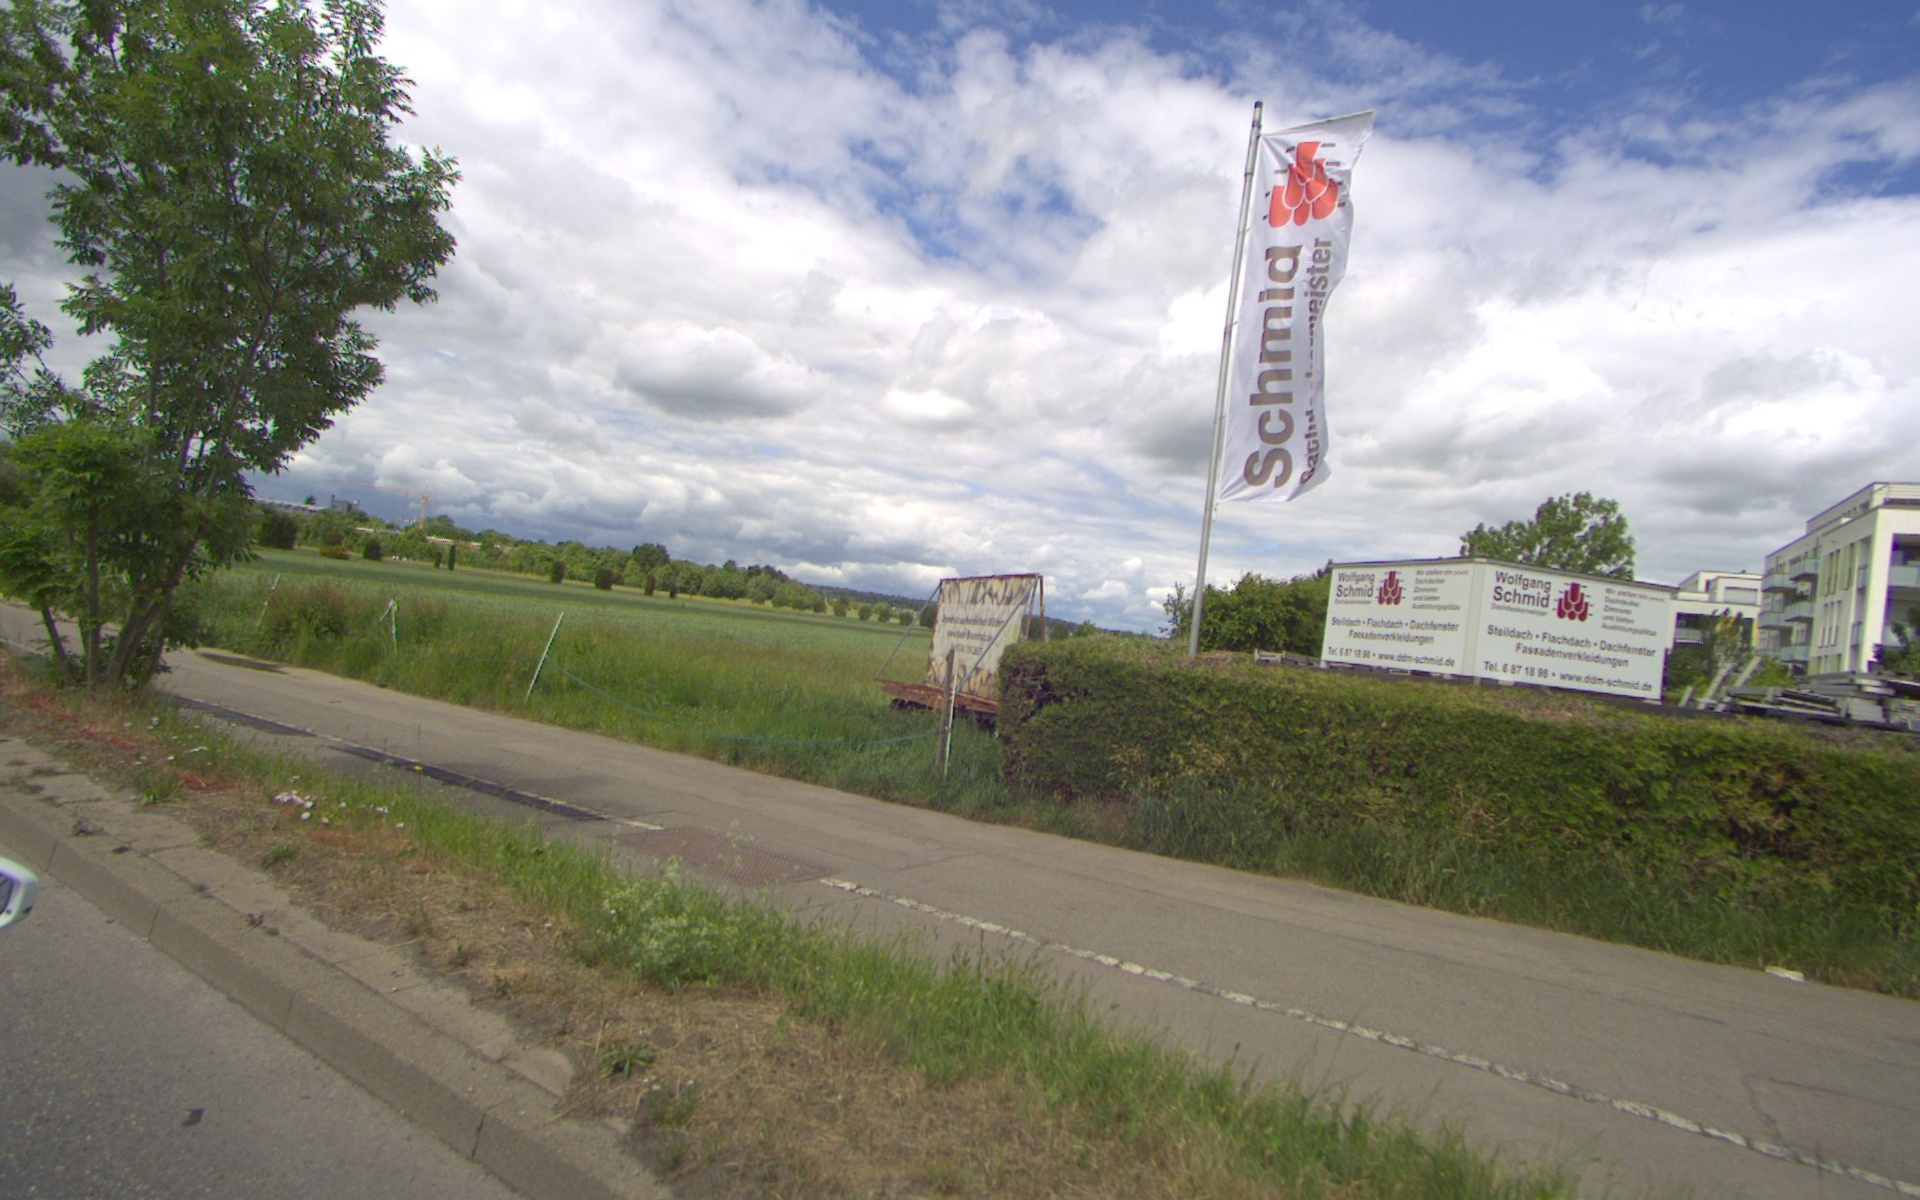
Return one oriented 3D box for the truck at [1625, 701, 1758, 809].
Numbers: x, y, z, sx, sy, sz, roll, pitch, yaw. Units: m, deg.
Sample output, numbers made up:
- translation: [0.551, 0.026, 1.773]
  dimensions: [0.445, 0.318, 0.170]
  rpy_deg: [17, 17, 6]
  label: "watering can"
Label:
- translation: [22.325, 4.603, 30.995]
  dimensions: [2.130, 2.674, 5.933]
  rpy_deg: [6, -2, 27]
  label: "truck"
